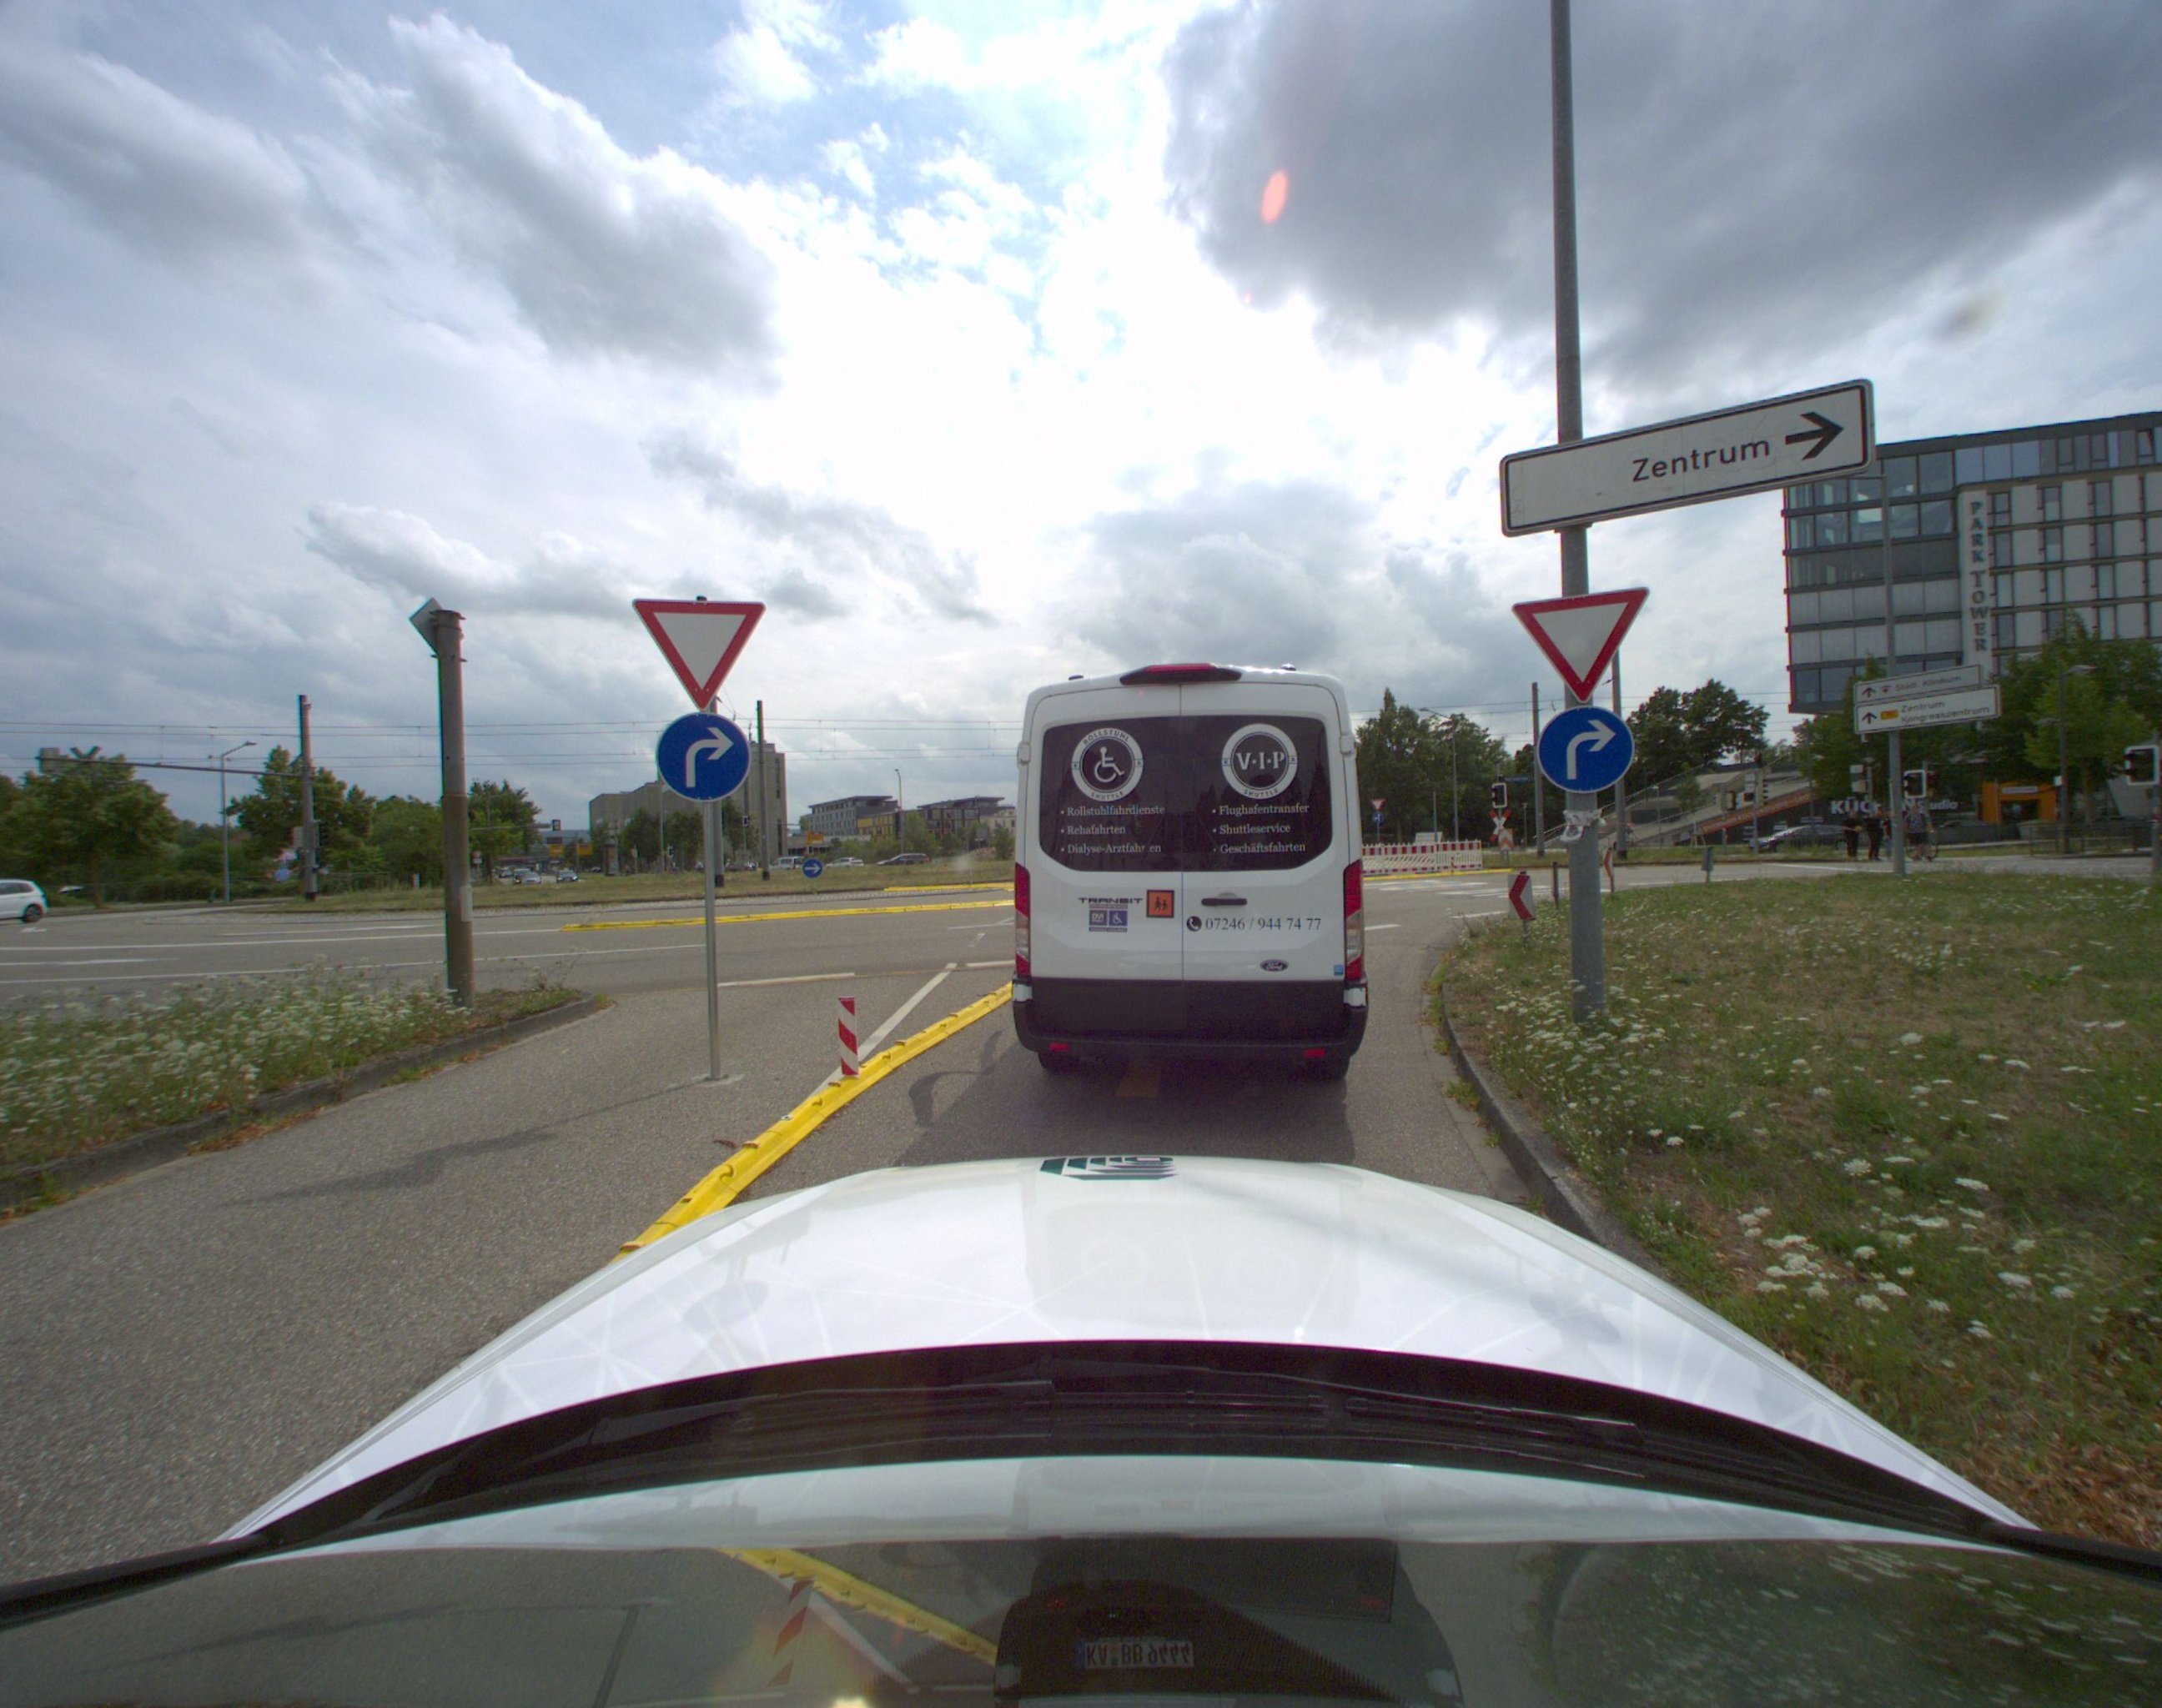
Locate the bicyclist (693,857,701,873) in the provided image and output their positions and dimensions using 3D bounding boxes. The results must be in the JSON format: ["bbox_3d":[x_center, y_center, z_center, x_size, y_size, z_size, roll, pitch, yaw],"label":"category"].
[{"bbox_3d":[-39.482,1.128,83.774,0.650,1.558,0.527,-2,0,-19],"label":"bicyclist"}]

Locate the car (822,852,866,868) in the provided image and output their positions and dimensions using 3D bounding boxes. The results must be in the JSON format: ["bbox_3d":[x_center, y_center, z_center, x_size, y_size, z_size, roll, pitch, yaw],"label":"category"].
[{"bbox_3d":[-23.649,0.622,81.246,3.952,1.463,1.843,-1,-1,23],"label":"car"}]

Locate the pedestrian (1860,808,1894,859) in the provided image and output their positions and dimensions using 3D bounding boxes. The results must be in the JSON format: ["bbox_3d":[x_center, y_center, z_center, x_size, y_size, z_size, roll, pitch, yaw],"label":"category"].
[{"bbox_3d":[27.938,-0.713,28.604,0.628,1.781,0.554,-2,1,6],"label":"pedestrian"}]

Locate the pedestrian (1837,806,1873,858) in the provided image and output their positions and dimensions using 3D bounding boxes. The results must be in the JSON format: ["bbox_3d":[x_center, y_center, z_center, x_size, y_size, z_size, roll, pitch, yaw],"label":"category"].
[{"bbox_3d":[27.183,-0.769,28.607,0.684,1.781,0.554,-2,1,6],"label":"pedestrian"}]

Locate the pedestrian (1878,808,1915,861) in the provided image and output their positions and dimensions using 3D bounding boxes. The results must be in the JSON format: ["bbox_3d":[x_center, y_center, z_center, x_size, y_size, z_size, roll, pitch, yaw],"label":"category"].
[{"bbox_3d":[28.006,-0.680,27.969,0.684,1.781,0.554,-2,1,6],"label":"pedestrian"}]

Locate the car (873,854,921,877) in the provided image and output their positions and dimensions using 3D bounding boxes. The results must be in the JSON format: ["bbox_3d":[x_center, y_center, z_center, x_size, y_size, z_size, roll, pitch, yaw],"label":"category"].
[{"bbox_3d":[-16.507,1.016,73.047,3.999,2.014,1.987,-1,-1,-19],"label":"car"}]

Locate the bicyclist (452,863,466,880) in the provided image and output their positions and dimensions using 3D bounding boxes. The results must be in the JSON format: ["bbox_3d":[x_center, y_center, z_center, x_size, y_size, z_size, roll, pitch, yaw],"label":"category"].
[{"bbox_3d":[-52.783,1.497,69.077,0.853,1.409,0.678,-2,0,36],"label":"bicyclist"}]

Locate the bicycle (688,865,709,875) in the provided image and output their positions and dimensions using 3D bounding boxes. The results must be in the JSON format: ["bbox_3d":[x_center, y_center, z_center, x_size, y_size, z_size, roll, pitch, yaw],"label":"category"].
[{"bbox_3d":[-39.336,1.661,83.811,1.834,0.877,0.527,-2,0,-19],"label":"bicycle"}]

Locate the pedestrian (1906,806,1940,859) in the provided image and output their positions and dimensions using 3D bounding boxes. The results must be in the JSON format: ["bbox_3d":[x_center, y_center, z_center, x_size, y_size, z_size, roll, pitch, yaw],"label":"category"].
[{"bbox_3d":[28.757,-0.740,27.821,0.575,1.781,0.554,-2,1,6],"label":"pedestrian"}]

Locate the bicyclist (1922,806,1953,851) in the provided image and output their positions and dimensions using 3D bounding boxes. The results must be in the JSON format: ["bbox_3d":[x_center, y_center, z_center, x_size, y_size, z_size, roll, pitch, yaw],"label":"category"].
[{"bbox_3d":[30.559,-0.897,29.063,0.553,1.580,0.770,-1,1,30],"label":"bicyclist"}]

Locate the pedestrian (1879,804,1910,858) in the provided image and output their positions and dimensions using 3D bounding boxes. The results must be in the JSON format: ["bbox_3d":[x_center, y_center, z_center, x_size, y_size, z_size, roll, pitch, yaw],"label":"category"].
[{"bbox_3d":[28.612,-0.817,28.635,0.527,1.862,0.554,-2,1,6],"label":"pedestrian"}]

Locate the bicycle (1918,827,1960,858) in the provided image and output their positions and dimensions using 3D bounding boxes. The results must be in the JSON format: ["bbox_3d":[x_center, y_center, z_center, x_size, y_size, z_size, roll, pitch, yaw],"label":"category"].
[{"bbox_3d":[30.545,-0.430,29.011,0.541,1.058,1.724,-1,1,30],"label":"bicycle"}]

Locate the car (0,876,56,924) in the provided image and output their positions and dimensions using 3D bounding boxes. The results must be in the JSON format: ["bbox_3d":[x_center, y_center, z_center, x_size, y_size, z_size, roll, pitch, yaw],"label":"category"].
[{"bbox_3d":[-40.093,1.770,29.109,1.934,1.665,4.336,-3,2,-13],"label":"car"}]

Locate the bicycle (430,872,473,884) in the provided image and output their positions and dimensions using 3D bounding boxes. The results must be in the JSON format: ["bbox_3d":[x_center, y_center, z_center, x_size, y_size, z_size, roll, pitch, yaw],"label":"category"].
[{"bbox_3d":[-53.073,1.987,68.684,0.853,0.855,2.676,-2,1,36],"label":"bicycle"}]

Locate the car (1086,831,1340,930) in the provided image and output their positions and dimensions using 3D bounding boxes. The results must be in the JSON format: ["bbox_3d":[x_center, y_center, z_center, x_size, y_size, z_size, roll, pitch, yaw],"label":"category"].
[{"bbox_3d":[2.569,0.411,15.622,4.488,1.551,2.045,-2,1,-30],"label":"car"}]

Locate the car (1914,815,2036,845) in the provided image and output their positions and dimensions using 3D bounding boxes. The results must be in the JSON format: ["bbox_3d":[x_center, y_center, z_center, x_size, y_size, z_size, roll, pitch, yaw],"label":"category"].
[{"bbox_3d":[46.899,-1.249,42.794,3.958,1.458,1.856,-2,1,14],"label":"car"}]

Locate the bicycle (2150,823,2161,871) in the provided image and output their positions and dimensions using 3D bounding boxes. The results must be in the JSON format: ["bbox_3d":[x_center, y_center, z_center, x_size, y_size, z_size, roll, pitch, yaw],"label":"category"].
[{"bbox_3d":[26.962,-0.172,19.758,0.781,1.168,2.054,-2,0,40],"label":"bicycle"}]

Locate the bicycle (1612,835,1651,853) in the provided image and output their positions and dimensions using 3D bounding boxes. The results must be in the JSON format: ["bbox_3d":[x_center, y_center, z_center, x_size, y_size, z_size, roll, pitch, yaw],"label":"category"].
[{"bbox_3d":[30.562,-0.553,45.223,0.654,1.007,1.745,-2,1,-19],"label":"bicycle"}]

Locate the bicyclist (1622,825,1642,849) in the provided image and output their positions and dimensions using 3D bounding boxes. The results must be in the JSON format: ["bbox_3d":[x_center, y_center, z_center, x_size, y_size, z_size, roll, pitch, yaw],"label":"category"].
[{"bbox_3d":[30.568,-0.919,45.166,0.640,1.317,0.671,-2,1,-19],"label":"bicyclist"}]

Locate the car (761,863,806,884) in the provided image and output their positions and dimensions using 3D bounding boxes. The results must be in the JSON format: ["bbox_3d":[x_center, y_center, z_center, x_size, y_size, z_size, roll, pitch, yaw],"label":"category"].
[{"bbox_3d":[-28.866,1.891,78.945,4.305,2.014,2.013,-2,-1,36],"label":"car"}]

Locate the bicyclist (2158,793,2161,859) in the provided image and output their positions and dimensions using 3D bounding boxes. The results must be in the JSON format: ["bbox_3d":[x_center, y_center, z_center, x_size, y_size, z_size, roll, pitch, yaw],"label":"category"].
[{"bbox_3d":[26.834,-0.692,19.634,0.781,1.627,1.056,-2,0,40],"label":"bicyclist"}]

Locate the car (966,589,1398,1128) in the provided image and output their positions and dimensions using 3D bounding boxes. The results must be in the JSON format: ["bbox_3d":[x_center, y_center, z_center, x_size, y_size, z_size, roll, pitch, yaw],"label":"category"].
[{"bbox_3d":[0.812,0.031,6.982,2.115,2.697,5.642,-2,0,6],"label":"car"}]

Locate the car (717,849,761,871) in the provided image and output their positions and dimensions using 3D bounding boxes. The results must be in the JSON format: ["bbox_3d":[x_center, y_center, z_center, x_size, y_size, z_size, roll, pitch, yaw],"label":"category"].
[{"bbox_3d":[-31.634,0.562,75.284,3.948,2.014,2.013,-2,-1,36],"label":"car"}]

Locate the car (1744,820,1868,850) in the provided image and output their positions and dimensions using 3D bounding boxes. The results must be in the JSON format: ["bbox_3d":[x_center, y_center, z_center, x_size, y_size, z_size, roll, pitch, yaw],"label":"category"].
[{"bbox_3d":[38.951,-1.008,43.893,4.689,1.458,1.855,-2,1,13],"label":"car"}]

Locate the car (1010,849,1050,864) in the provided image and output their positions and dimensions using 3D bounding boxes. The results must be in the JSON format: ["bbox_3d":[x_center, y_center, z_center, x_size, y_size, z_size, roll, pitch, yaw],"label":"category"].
[{"bbox_3d":[-5.240,0.269,83.848,1.809,1.463,4.026,-2,0,37],"label":"car"}]
